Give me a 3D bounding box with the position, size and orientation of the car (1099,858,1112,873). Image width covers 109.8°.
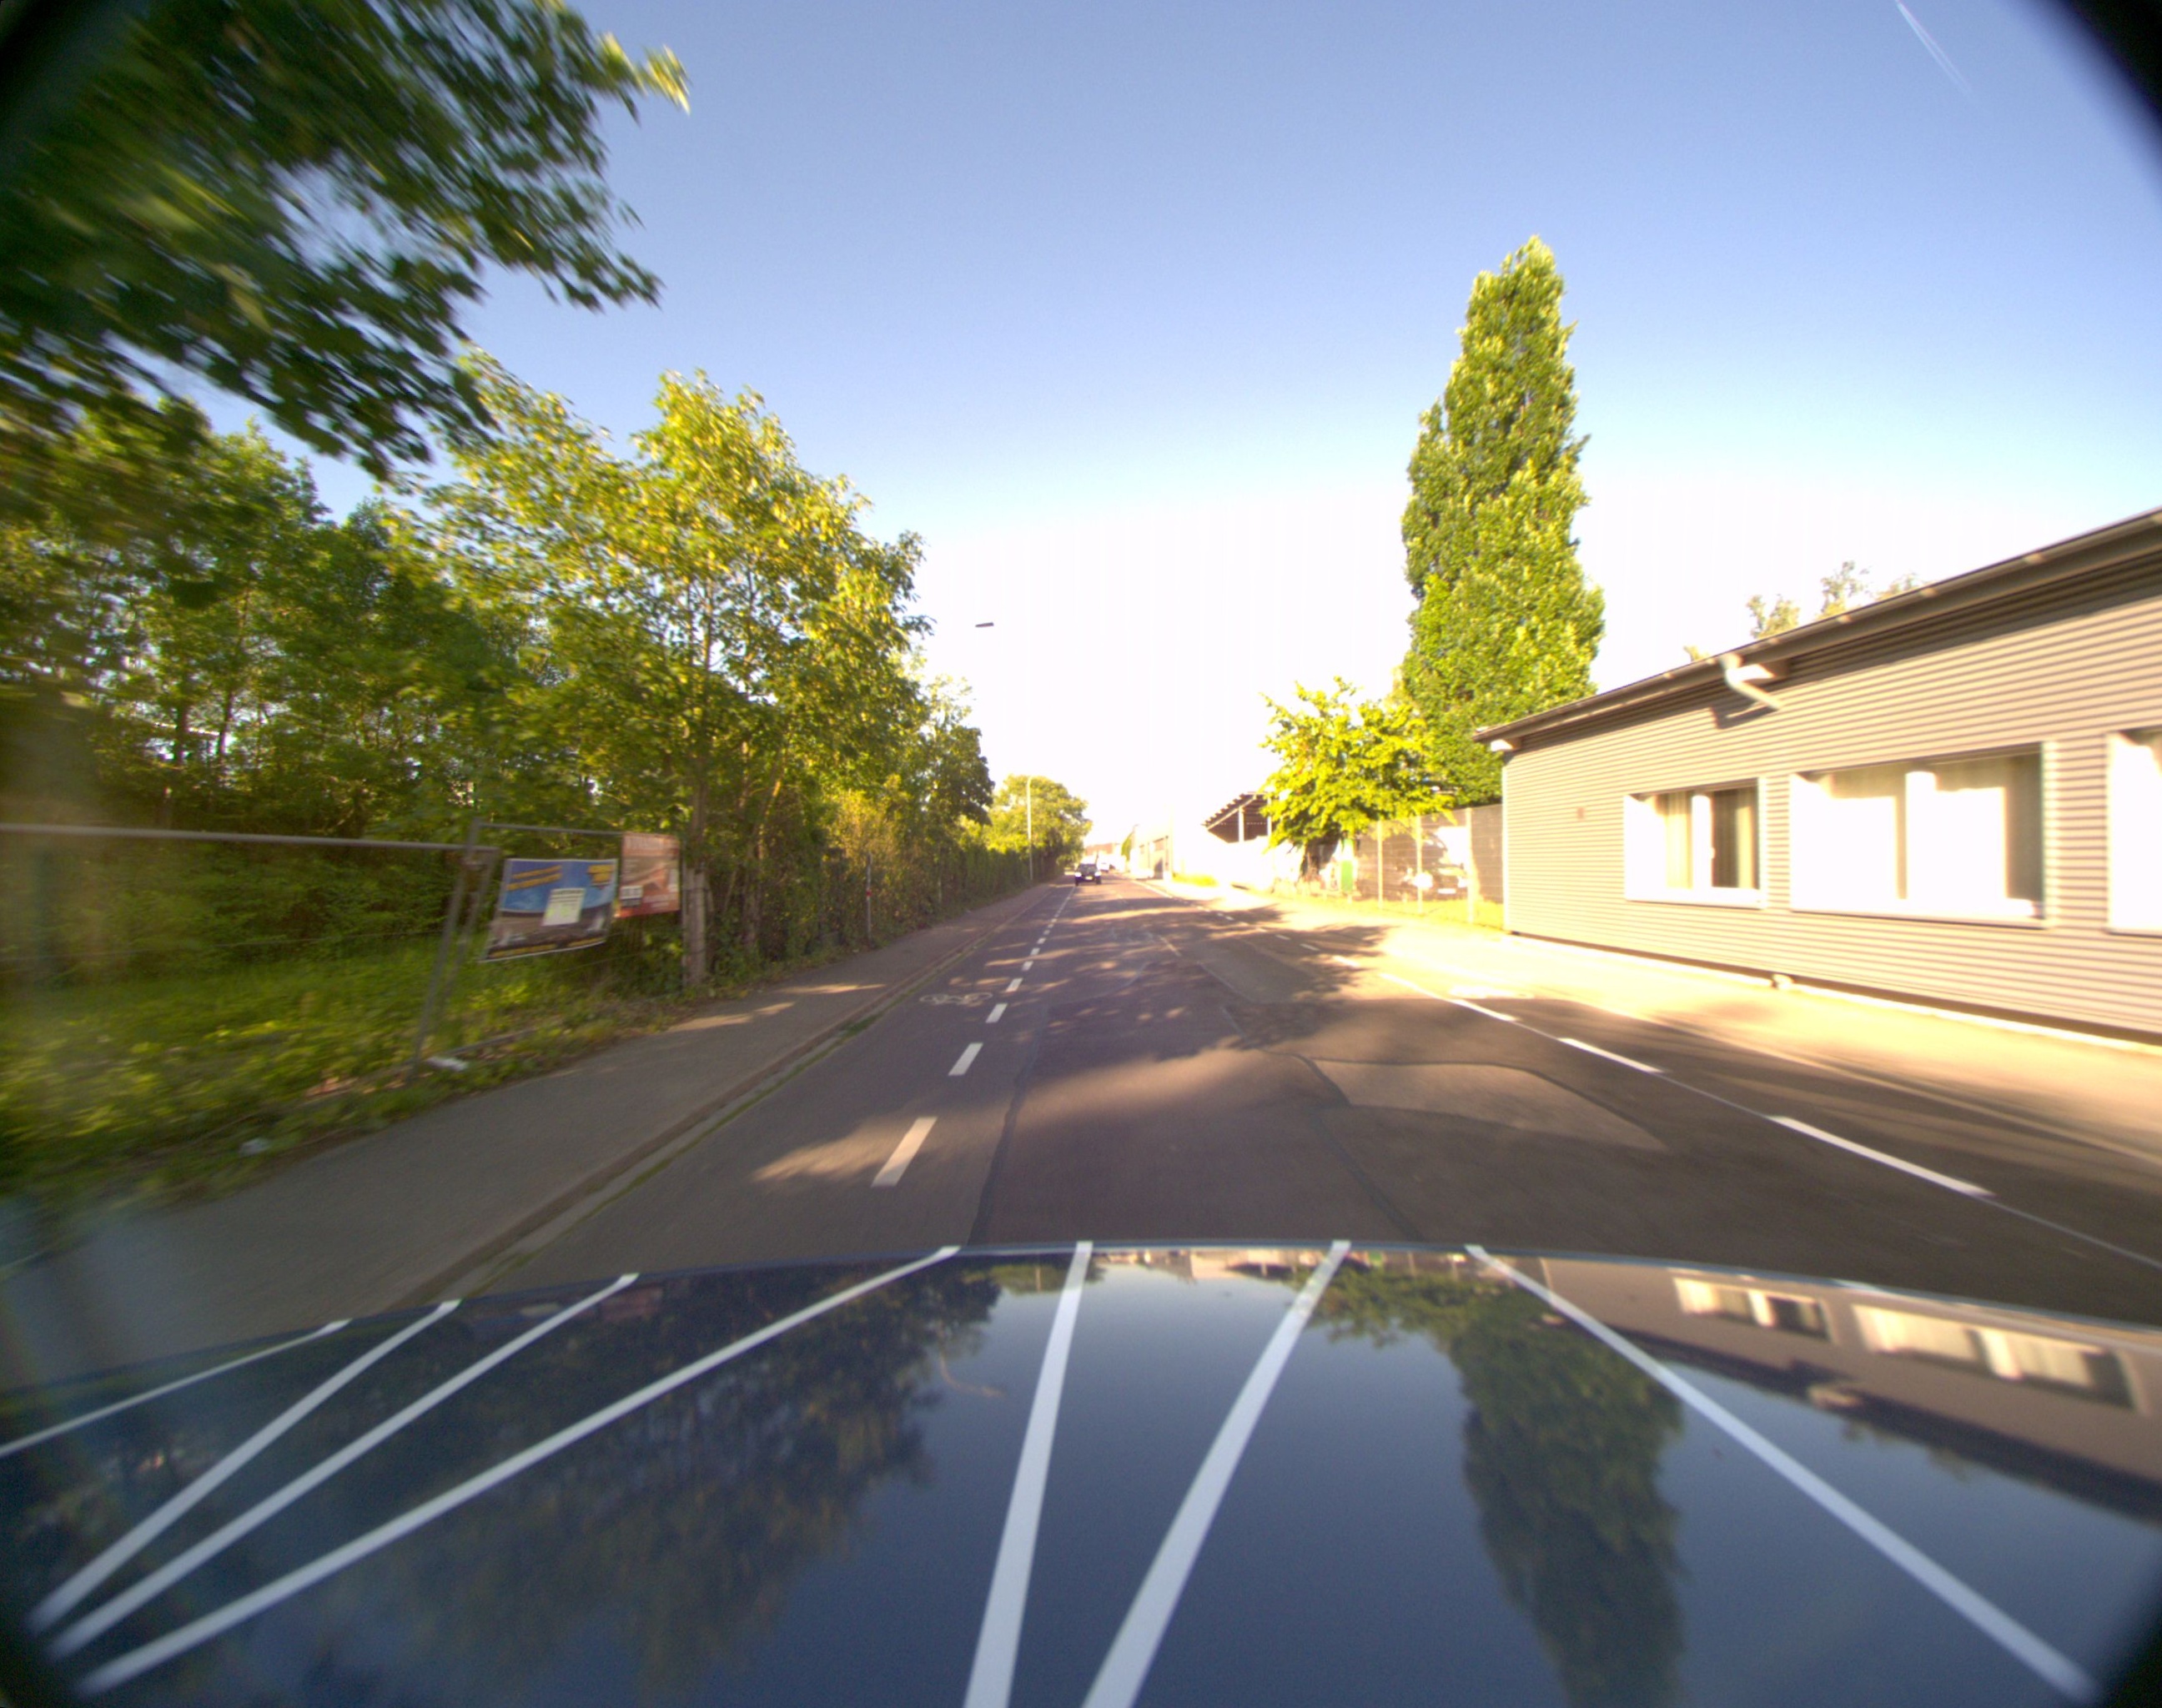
[{"bbox_3d":[4.770,2.203,148.496,2.128,2.764,5.926,1,0,0],"label":"car"}]

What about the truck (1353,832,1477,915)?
[{"bbox_3d":[12.169,0.708,28.218,2.084,2.745,5.765,-1,-1,0],"label":"truck"}]

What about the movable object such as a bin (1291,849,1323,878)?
[{"bbox_3d":[16.589,0.725,55.882,1.580,2.080,2.478,-1,-1,-1],"label":"movable object such as a bin"}]

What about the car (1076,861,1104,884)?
[{"bbox_3d":[0.634,1.356,58.121,2.037,1.623,4.613,-1,0,-1],"label":"car"}]
